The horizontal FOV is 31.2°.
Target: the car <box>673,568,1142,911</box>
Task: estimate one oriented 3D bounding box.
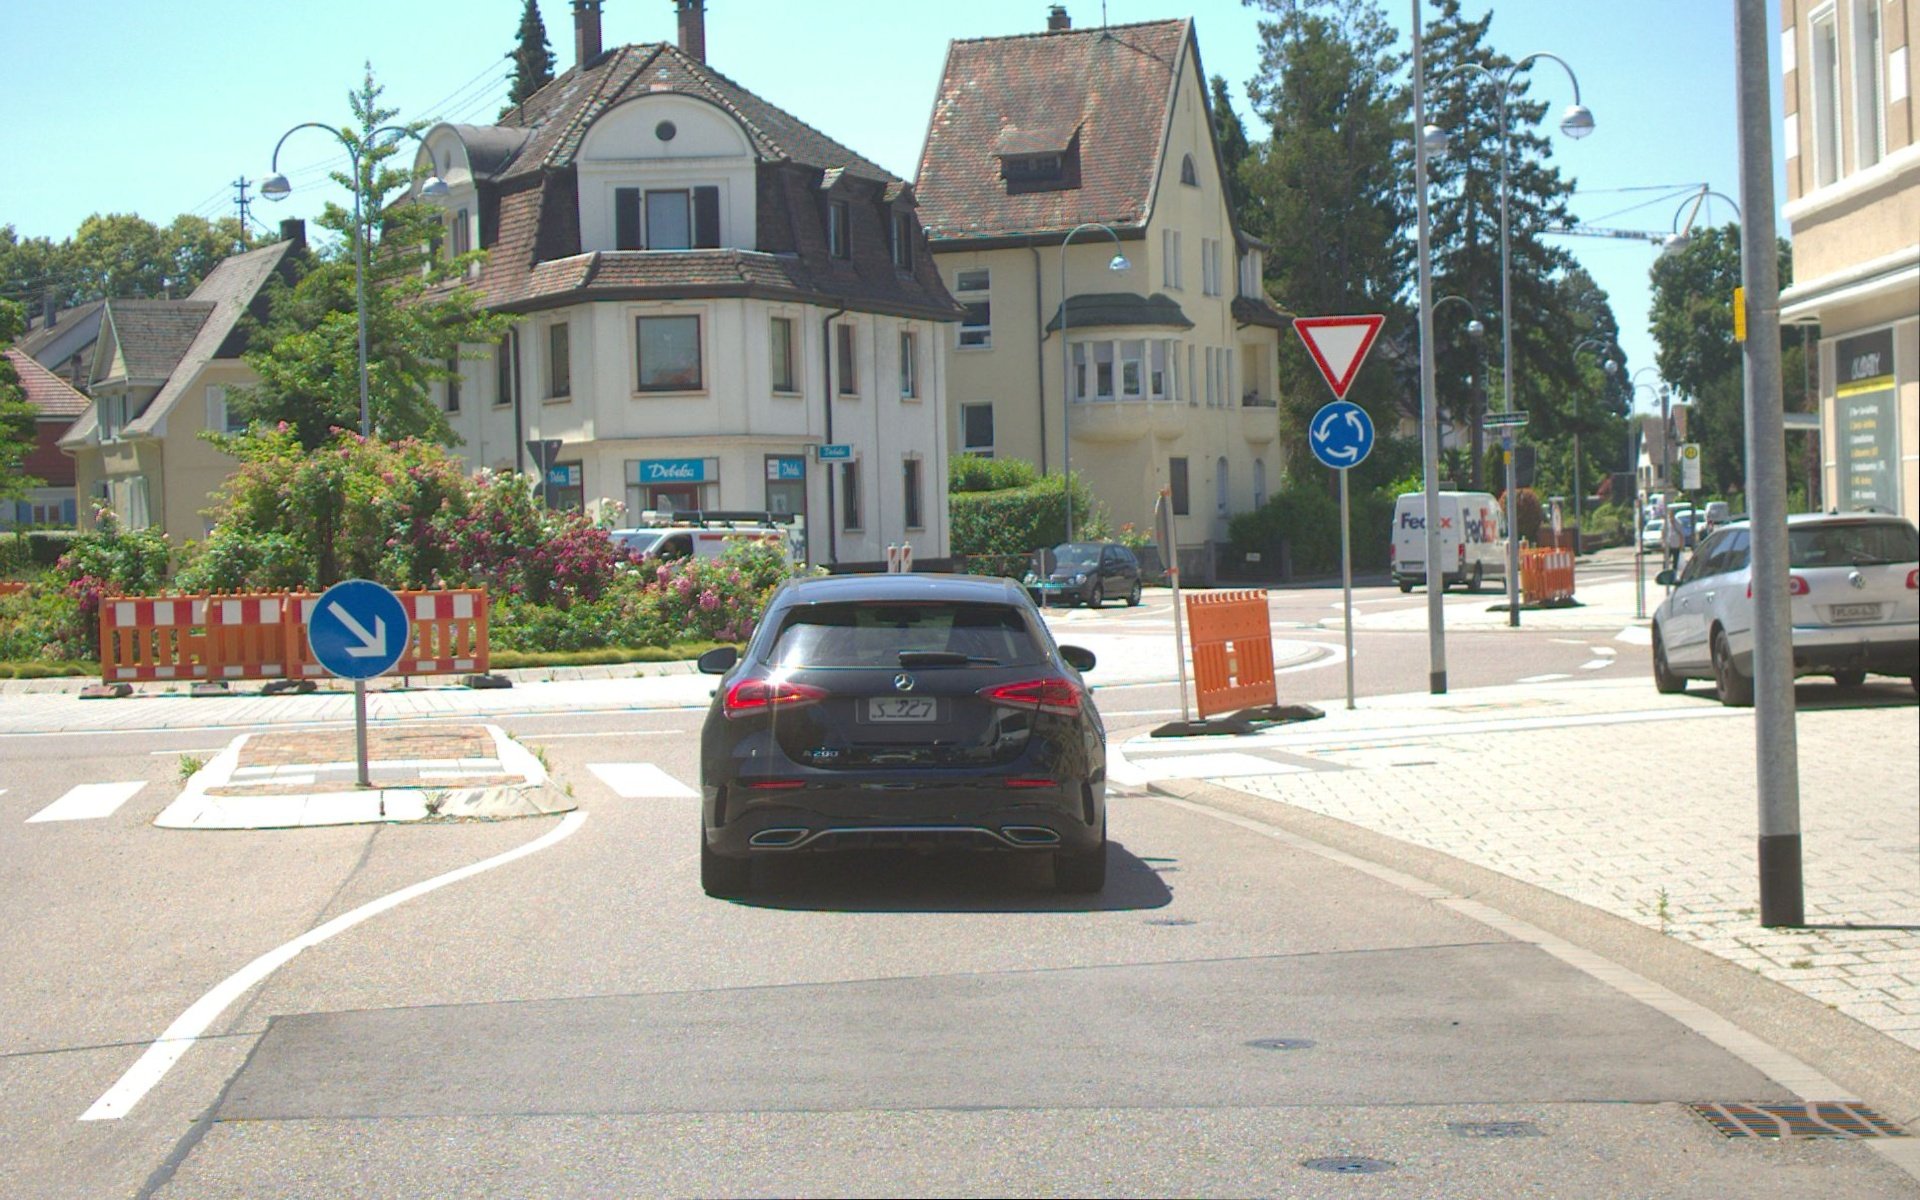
[{"bbox_3d":[-0.277,0.579,16.415,1.953,1.422,4.000,0,0,-2],"label":"car"}]

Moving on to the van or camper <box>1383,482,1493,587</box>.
[{"bbox_3d":[12.359,-1.687,88.688,2.207,2.601,3.997,-1,1,16],"label":"van or camper"}]

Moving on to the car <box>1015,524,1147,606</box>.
[{"bbox_3d":[2.712,-0.786,76.366,1.922,1.766,3.997,1,1,18],"label":"car"}]

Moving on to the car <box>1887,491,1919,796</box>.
[{"bbox_3d":[5.842,0.207,16.287,1.673,1.614,4.363,-4,1,1],"label":"car"}]

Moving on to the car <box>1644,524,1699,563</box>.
[{"bbox_3d":[31.078,-2.492,150.071,1.995,1.645,3.997,-1,1,17],"label":"car"}]

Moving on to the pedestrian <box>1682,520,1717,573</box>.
[{"bbox_3d":[18.866,-1.365,87.670,0.667,1.281,0.586,-5,0,26],"label":"pedestrian"}]

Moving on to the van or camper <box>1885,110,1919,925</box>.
[{"bbox_3d":[3.590,0.038,6.123,2.165,2.580,5.766,-3,1,-1],"label":"van or camper"}]

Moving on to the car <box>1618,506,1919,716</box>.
[{"bbox_3d":[6.770,0.039,28.341,1.764,1.525,4.690,-3,1,0],"label":"car"}]

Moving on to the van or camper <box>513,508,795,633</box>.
[{"bbox_3d":[-5.516,-0.555,62.628,1.998,2.164,5.401,0,1,37],"label":"van or camper"}]
